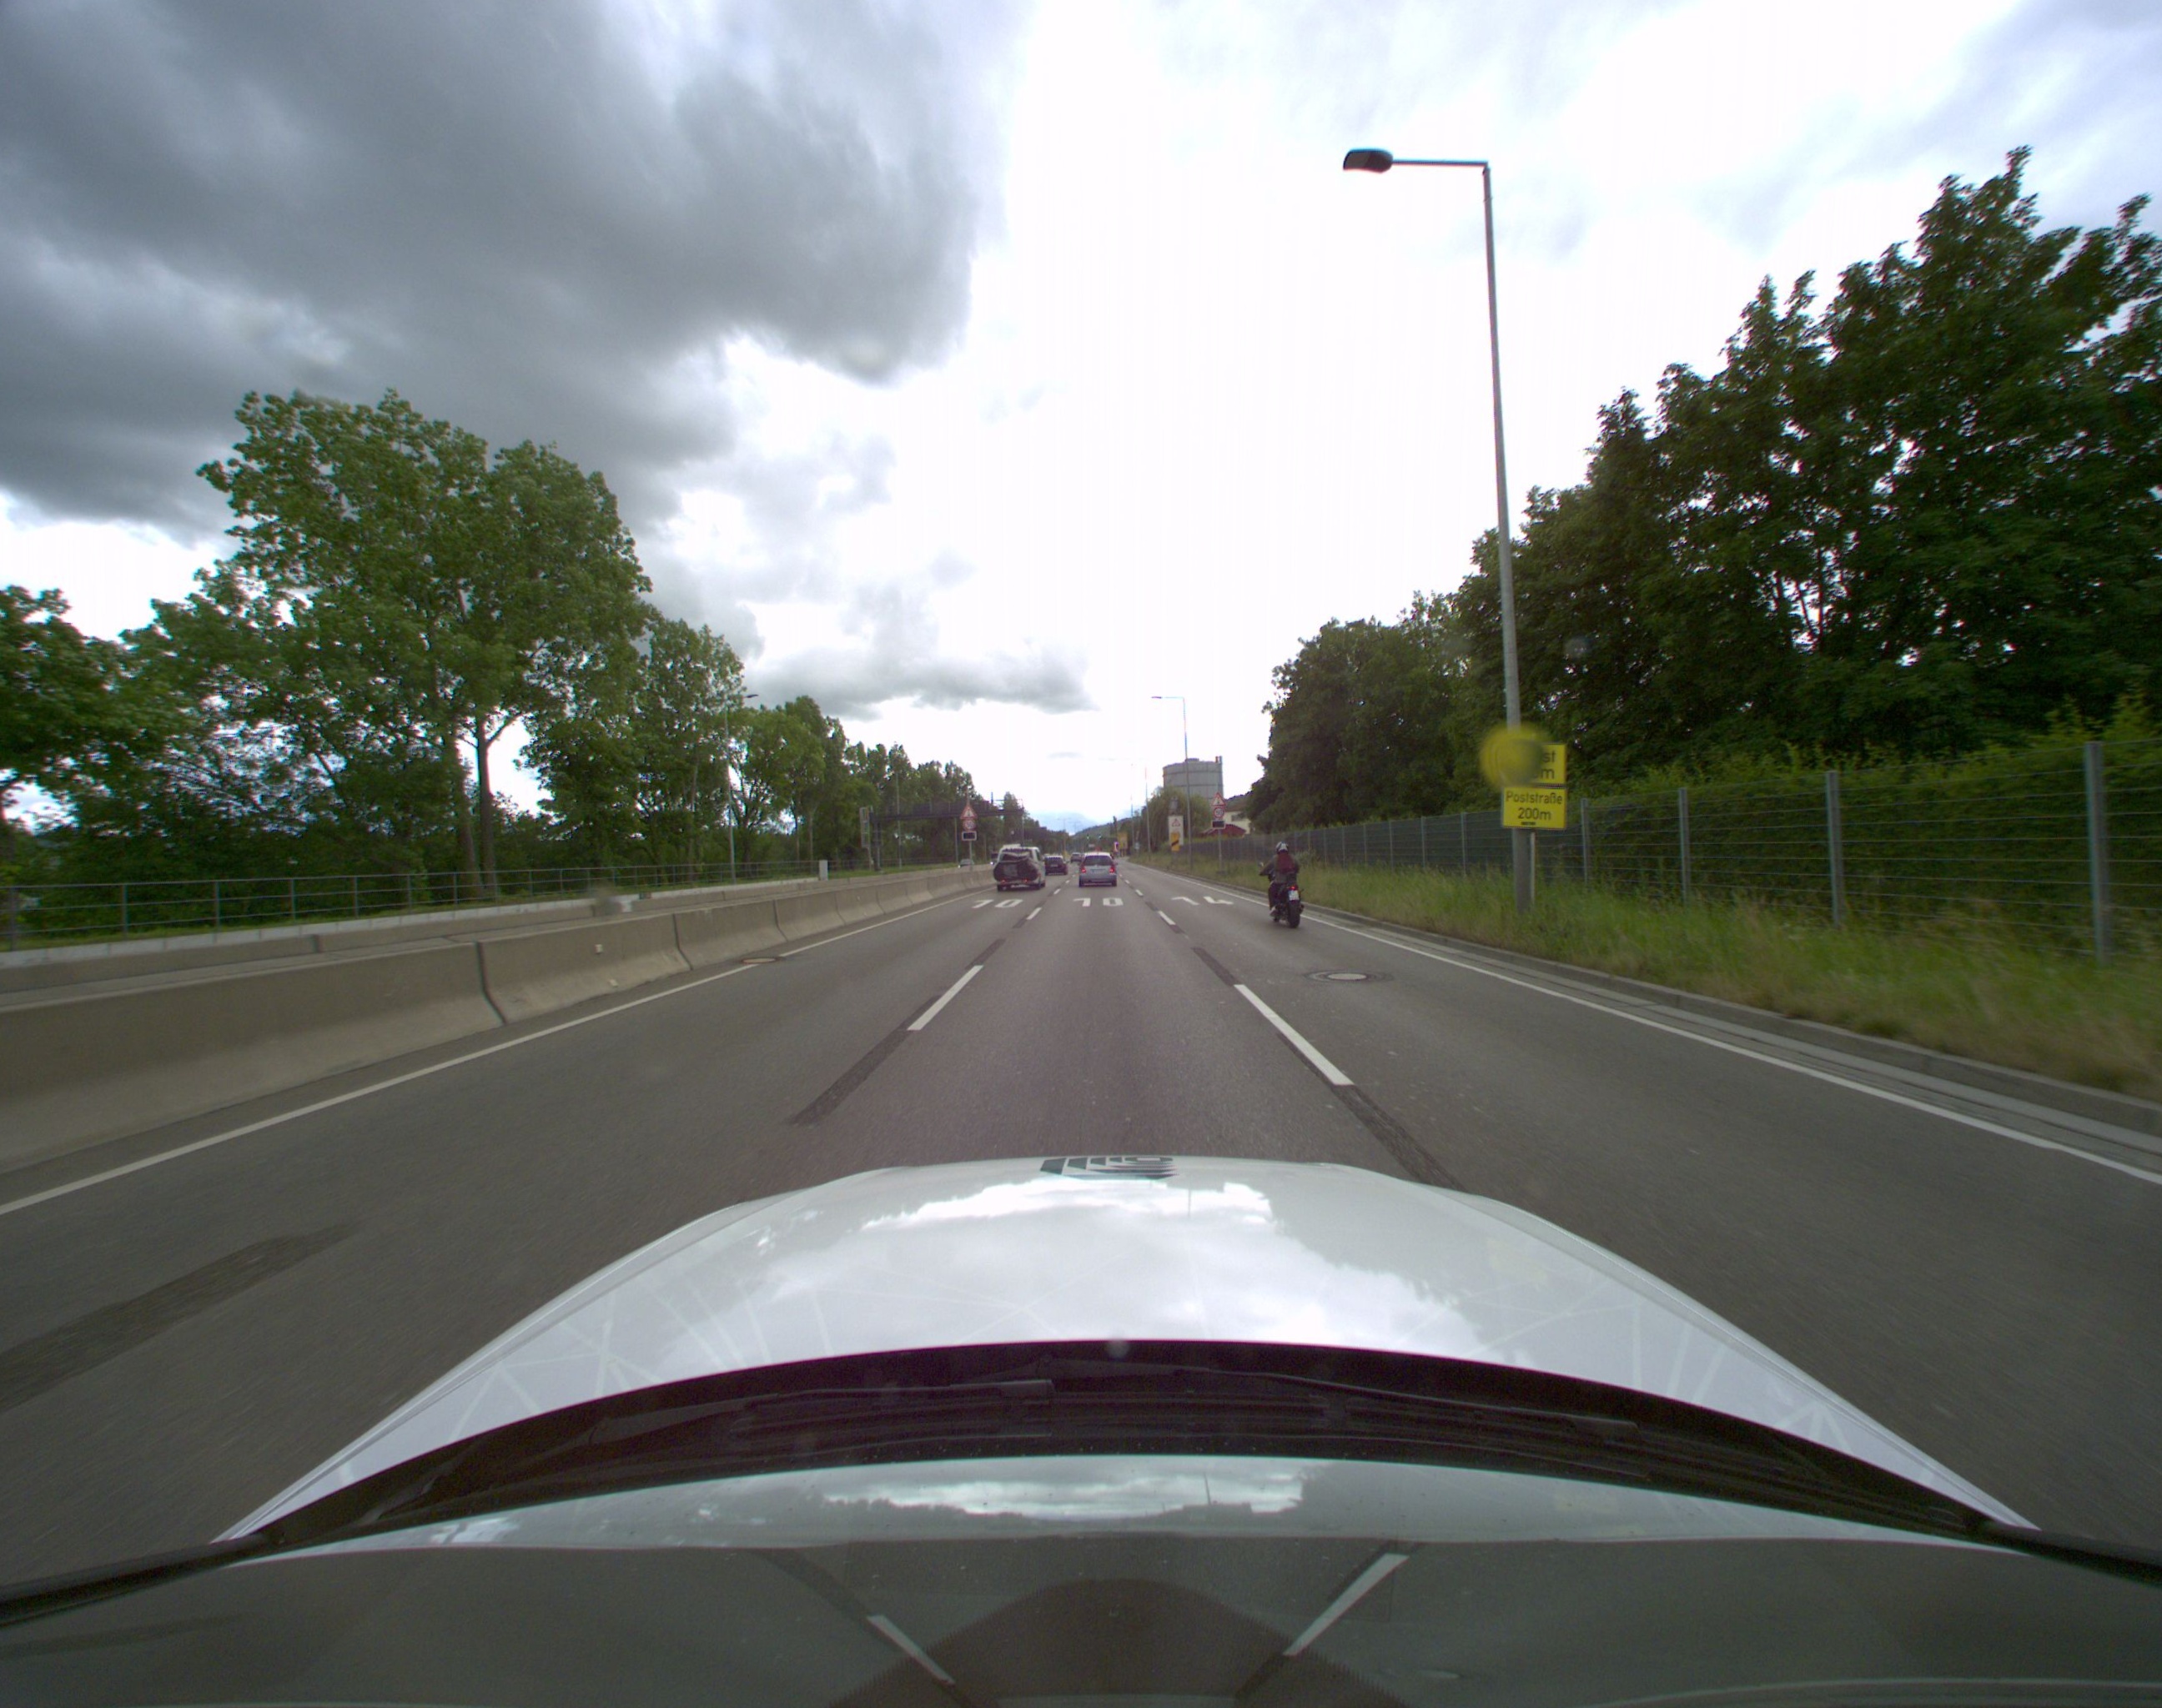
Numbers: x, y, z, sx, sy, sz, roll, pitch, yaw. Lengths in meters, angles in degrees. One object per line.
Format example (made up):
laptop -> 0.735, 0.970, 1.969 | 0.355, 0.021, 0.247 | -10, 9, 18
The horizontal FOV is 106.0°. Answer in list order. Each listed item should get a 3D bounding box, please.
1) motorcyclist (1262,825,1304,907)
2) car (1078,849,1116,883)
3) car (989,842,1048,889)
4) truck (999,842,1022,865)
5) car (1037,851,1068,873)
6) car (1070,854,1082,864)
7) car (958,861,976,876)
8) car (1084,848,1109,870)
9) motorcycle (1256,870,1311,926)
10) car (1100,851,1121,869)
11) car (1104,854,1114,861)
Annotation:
motorcyclist -> 4.101, 0.238, 16.568 | 0.682, 1.610, 0.846 | 0, 0, 3
car -> 0.755, 0.568, 38.747 | 1.704, 1.530, 4.000 | 0, 0, 1
car -> -2.669, 0.483, 35.978 | 2.208, 1.926, 5.001 | 0, 0, 0
truck -> -9.633, -0.070, 111.476 | 2.396, 3.107, 7.201 | 0, 0, 0
car -> -2.098, 0.583, 60.377 | 1.986, 1.552, 4.002 | 0, 0, 2
car -> -0.771, 0.827, 132.576 | 1.987, 1.552, 3.999 | 0, 0, 0
car -> -15.332, 1.902, 109.692 | 1.987, 2.014, 3.999 | 0, 0, 0
car -> 1.276, 0.408, 65.200 | 1.901, 1.684, 4.001 | 0, 0, 1
motorcycle -> 4.104, 0.867, 16.637 | 0.703, 1.040, 2.028 | 0, 0, 3
car -> 2.571, 0.522, 71.616 | 1.833, 1.464, 4.001 | 0, 0, 1
car -> 6.331, 0.847, 184.723 | 1.987, 1.552, 3.999 | 0, 0, 0
